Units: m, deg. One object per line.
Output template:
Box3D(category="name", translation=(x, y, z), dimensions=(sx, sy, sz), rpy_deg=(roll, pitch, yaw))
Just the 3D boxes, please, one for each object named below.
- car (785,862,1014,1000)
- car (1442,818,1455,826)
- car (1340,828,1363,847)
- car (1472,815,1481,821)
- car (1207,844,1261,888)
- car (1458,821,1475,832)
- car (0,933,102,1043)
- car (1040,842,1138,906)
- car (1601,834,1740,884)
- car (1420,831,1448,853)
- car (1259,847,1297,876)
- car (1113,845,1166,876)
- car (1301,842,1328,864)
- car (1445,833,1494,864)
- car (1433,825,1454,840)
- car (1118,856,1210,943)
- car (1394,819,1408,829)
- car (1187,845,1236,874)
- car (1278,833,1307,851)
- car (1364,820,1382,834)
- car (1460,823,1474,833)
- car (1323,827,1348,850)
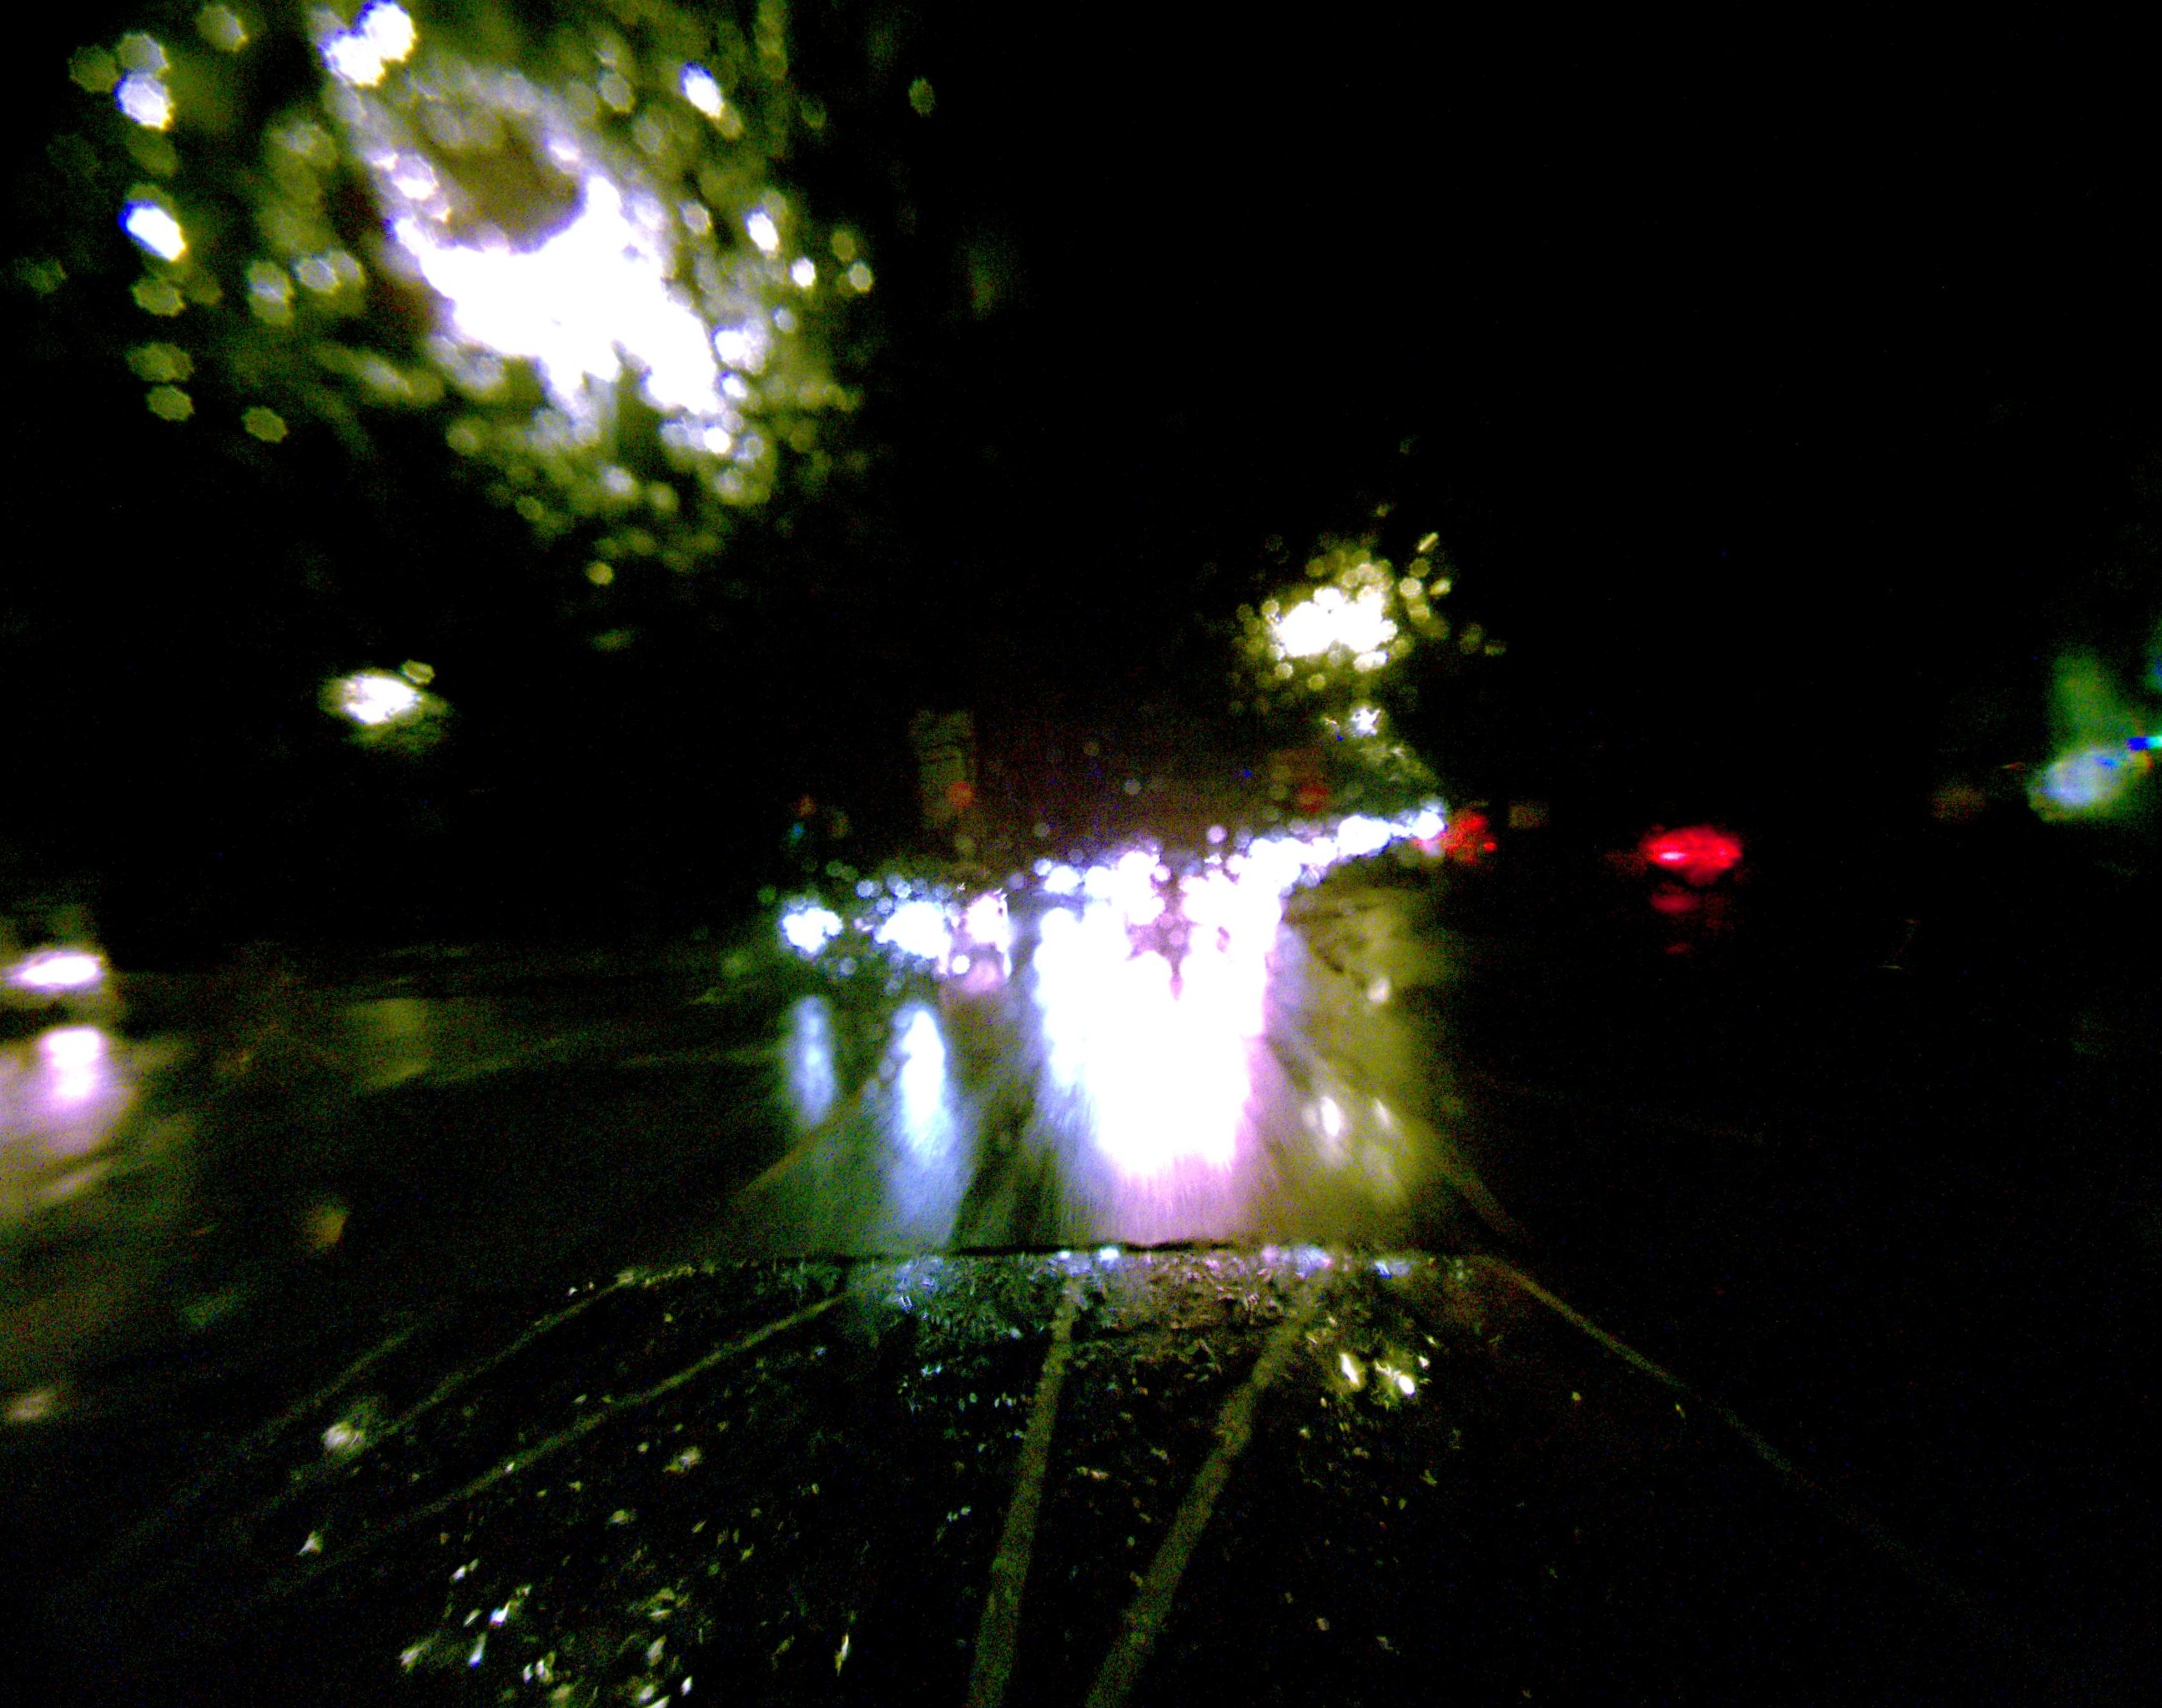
Box3D(category="car", translation=(-2.427, 0.972, 11.499), dimensions=(1.676, 1.497, 4.562), rpy_deg=(-3, 0, 9))
Box3D(category="car", translation=(69.246, -6.010, 143.028), dimensions=(1.849, 1.562, 3.513), rpy_deg=(-2, 1, 31))
Box3D(category="car", translation=(29.577, -1.847, 83.095), dimensions=(1.965, 1.784, 4.005), rpy_deg=(-3, 2, 24))
Box3D(category="car", translation=(88.706, -8.075, 170.562), dimensions=(1.712, 1.415, 4.674), rpy_deg=(1, 3, 27))
Box3D(category="car", translation=(6.202, 0.448, 30.593), dimensions=(1.604, 1.417, 3.392), rpy_deg=(-5, 1, 18))
Box3D(category="car", translation=(51.586, -3.713, 101.707), dimensions=(1.735, 1.487, 3.947), rpy_deg=(1, 3, 30))
Box3D(category="car", translation=(-15.951, 1.895, 10.456), dimensions=(4.047, 1.338, 1.749), rpy_deg=(-3, 0, 18))
Box3D(category="car", translation=(0.371, 0.529, 22.935), dimensions=(1.709, 1.513, 4.417), rpy_deg=(-3, 2, 17))
Box3D(category="car", translation=(17.368, 0.116, 22.645), dimensions=(1.809, 1.345, 4.147), rpy_deg=(-1, 0, 15))
Box3D(category="car", translation=(24.898, -0.845, 53.679), dimensions=(1.566, 1.424, 3.500), rpy_deg=(-3, 0, 23))
Box3D(category="car", translation=(12.133, 0.446, 46.714), dimensions=(1.604, 1.417, 3.393), rpy_deg=(-5, 1, 24))
Box3D(category="car", translation=(3.367, 0.341, 43.181), dimensions=(1.740, 1.410, 4.144), rpy_deg=(-3, 2, 23))
Box3D(category="car", translation=(18.713, -0.078, 60.801), dimensions=(1.604, 1.417, 3.393), rpy_deg=(-5, 1, 24))
Box3D(category="car", translation=(20.810, -0.338, 40.886), dimensions=(1.782, 1.452, 4.482), rpy_deg=(-3, 1, 20))
Box3D(category="car", translation=(36.910, -2.161, 77.316), dimensions=(1.790, 1.448, 4.585), rpy_deg=(0, 1, 27))
Box3D(category="car", translation=(1.645, 0.791, 14.630), dimensions=(1.496, 1.416, 3.391), rpy_deg=(-3, 0, 8))
Box3D(category="car", translation=(59.864, -5.573, 142.001), dimensions=(1.995, 1.670, 4.005), rpy_deg=(-3, 2, 29))
Box3D(category="car", translation=(7.983, 0.305, 46.187), dimensions=(1.740, 1.410, 4.145), rpy_deg=(-3, 2, 27))
Box3D(category="car", translation=(21.123, -1.239, 75.646), dimensions=(1.995, 1.590, 4.397), rpy_deg=(-2, 3, 26))
Box3D(category="car", translation=(45.468, -4.194, 118.273), dimensions=(1.869, 2.002, 3.910), rpy_deg=(-3, 2, 31))
Box3D(category="car", translation=(66.765, -4.525, 131.375), dimensions=(1.775, 1.585, 4.567), rpy_deg=(-1, 3, 32))
Box3D(category="car", translation=(24.289, -1.505, 72.379), dimensions=(1.996, 2.002, 4.004), rpy_deg=(-3, 2, 21))
